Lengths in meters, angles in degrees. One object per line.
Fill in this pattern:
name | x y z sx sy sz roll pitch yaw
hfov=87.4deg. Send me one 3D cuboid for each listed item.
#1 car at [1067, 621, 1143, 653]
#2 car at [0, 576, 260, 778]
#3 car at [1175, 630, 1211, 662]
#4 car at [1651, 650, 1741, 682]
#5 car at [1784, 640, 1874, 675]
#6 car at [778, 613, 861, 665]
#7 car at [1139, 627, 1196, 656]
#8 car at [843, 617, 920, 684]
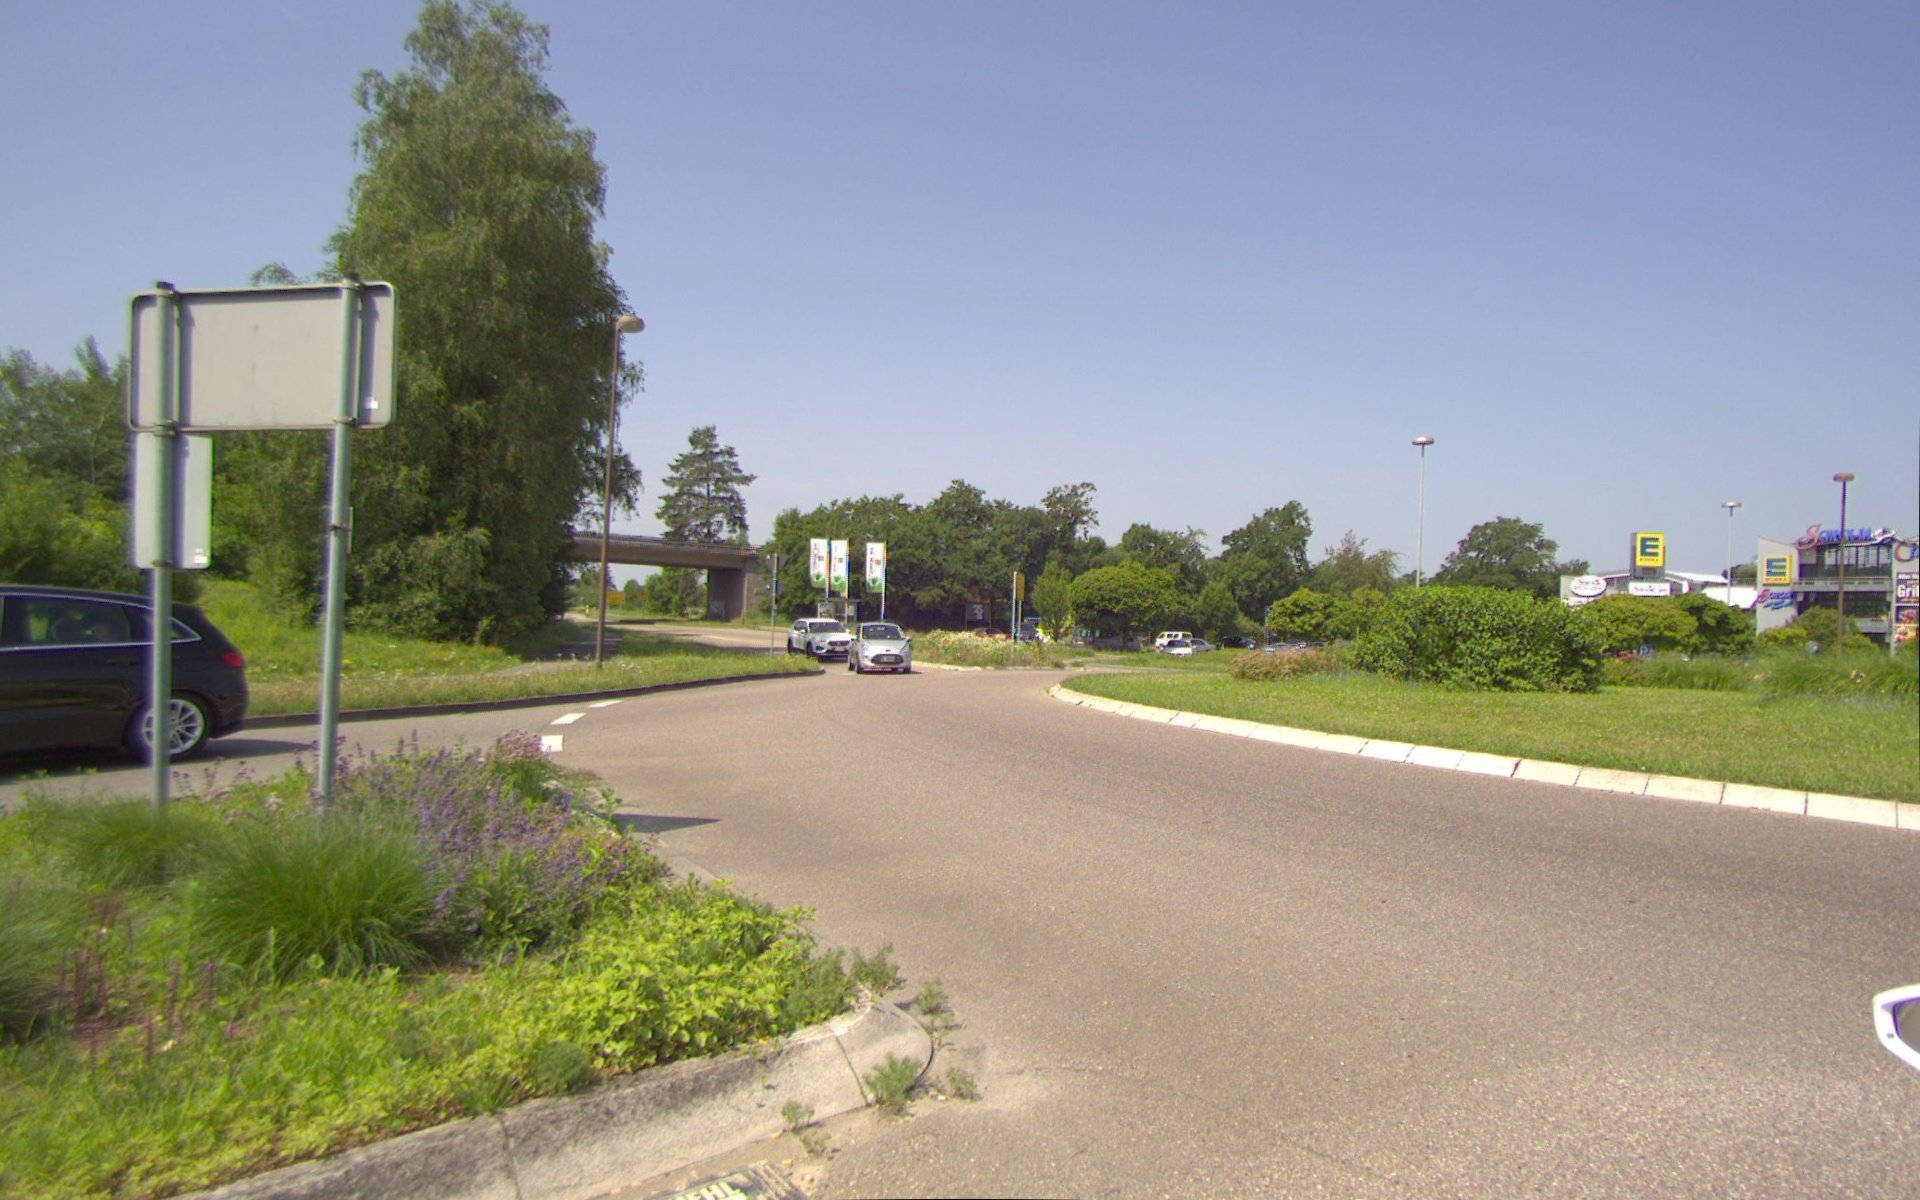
car | 8.653 2.202 59.746 4.367 1.582 1.856 4 0 -38
car | -8.237 0.589 7.867 1.725 1.550 4.210 0 -2 25
car | 12.730 2.465 55.071 1.553 1.517 4.569 4 0 9
car | 44.562 3.977 60.934 1.969 1.594 3.984 4 -2 -18
car | 46.431 3.051 53.728 1.532 1.594 3.310 4 -1 -18
car | -5.702 1.517 40.121 2.165 1.674 5.096 3 0 -21
car | 12.297 2.462 59.525 2.793 1.517 1.578 4 0 41
car | -2.351 1.462 30.424 2.088 1.637 4.196 2 2 -4
